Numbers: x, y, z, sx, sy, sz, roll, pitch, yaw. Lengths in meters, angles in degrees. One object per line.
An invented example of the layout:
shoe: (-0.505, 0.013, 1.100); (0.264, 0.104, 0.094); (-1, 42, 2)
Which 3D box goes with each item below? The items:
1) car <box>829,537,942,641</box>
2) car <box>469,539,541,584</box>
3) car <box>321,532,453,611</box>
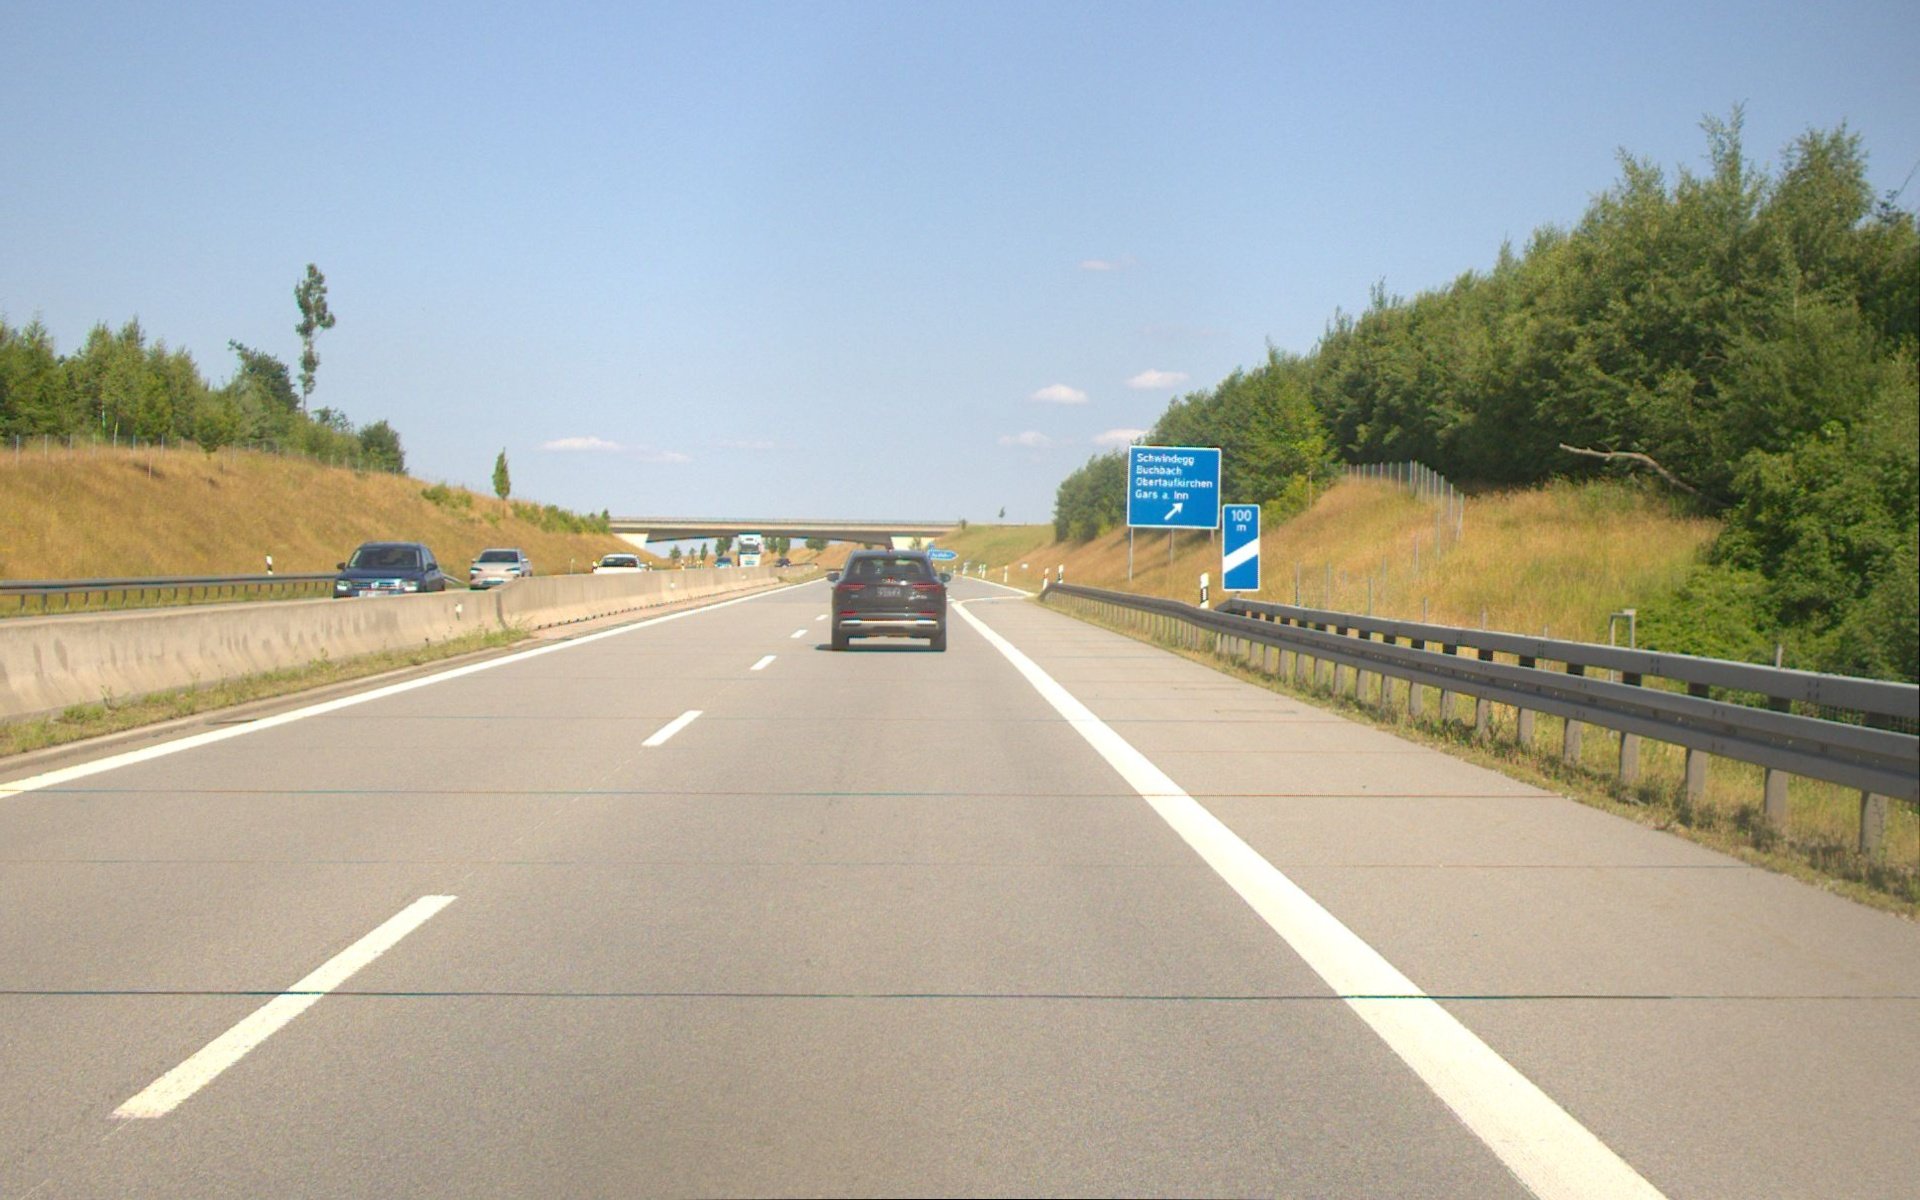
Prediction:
car: (-1.169, -0.214, 55.493); (1.722, 1.582, 5.222); (1, 1, 0)
car: (-16.459, -1.411, 124.457); (1.993, 1.576, 4.649); (1, 1, 0)
car: (-11.933, -0.610, 71.838); (1.993, 1.576, 4.649); (1, 1, 0)
